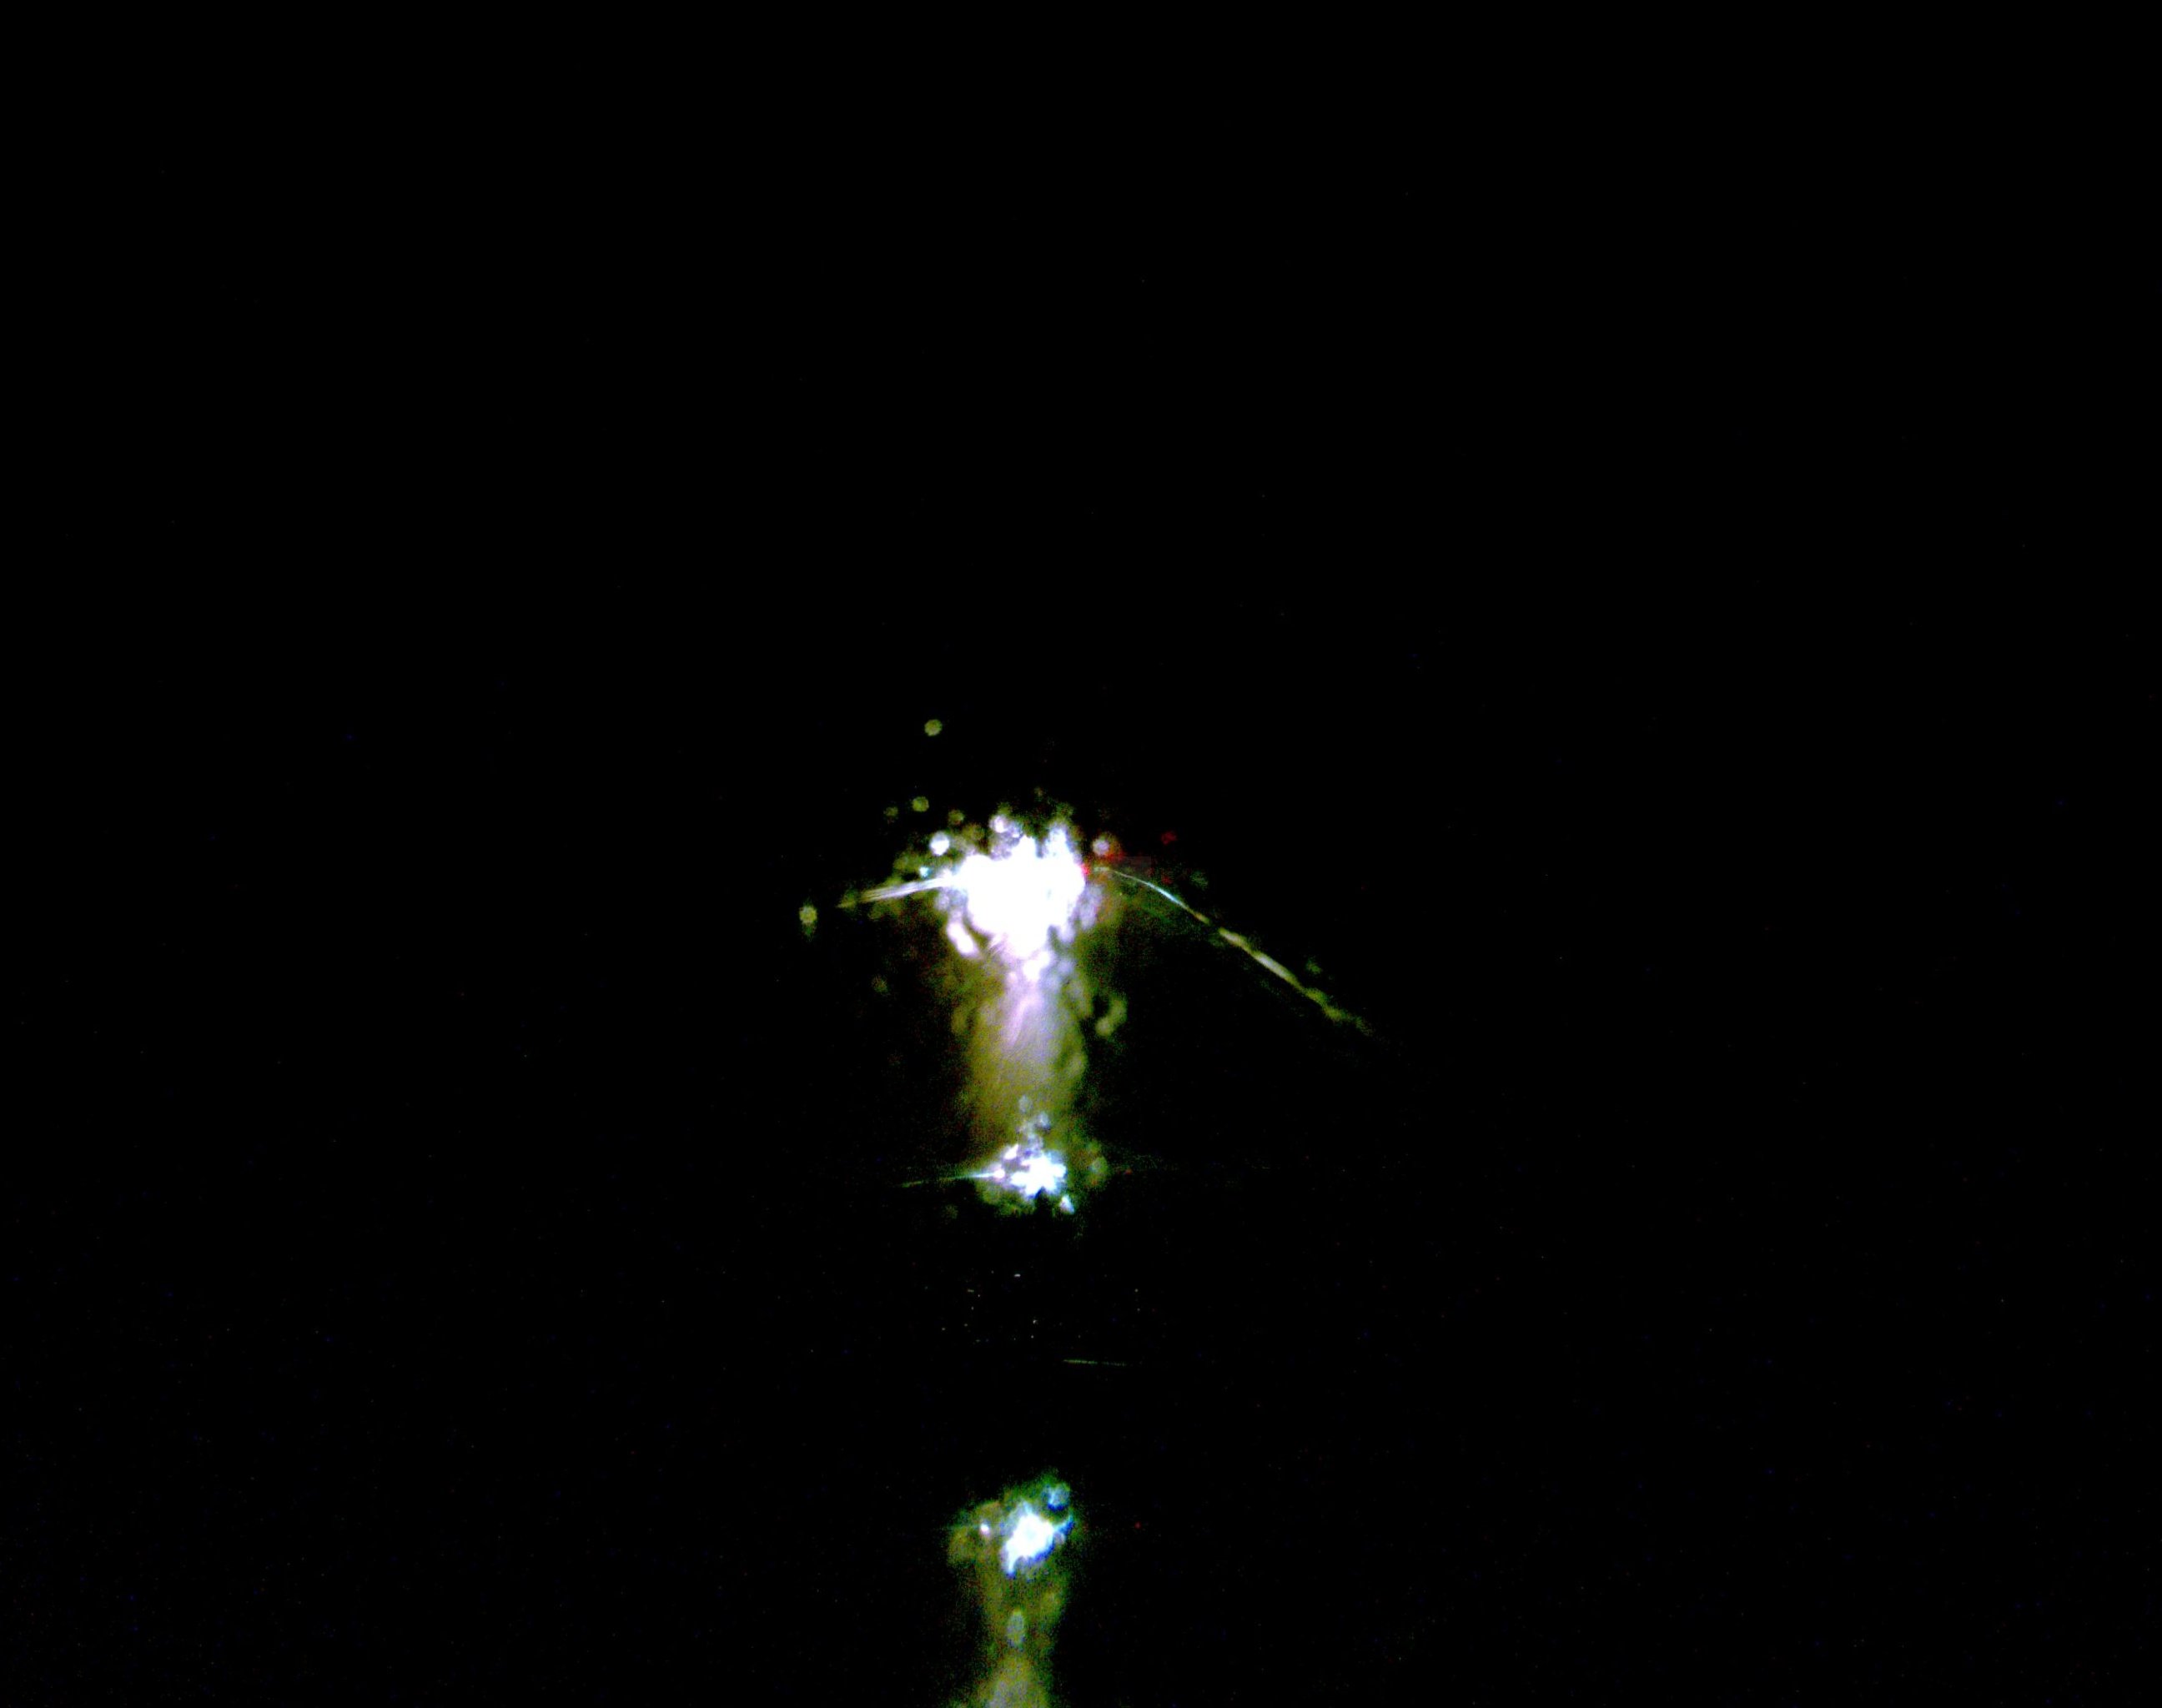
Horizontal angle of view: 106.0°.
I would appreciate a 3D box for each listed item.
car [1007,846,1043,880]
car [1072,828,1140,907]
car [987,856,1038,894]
[{"bbox_3d":[-3.643,0.569,53.973,1.987,2.068,4.345,-2,0,0],"label":"car"},{"bbox_3d":[0.787,0.445,28.838,2.175,2.557,4.505,1,0,-1],"label":"car"},{"bbox_3d":[-2.869,0.846,35.041,1.845,1.489,3.993,-1,0,0],"label":"car"}]
